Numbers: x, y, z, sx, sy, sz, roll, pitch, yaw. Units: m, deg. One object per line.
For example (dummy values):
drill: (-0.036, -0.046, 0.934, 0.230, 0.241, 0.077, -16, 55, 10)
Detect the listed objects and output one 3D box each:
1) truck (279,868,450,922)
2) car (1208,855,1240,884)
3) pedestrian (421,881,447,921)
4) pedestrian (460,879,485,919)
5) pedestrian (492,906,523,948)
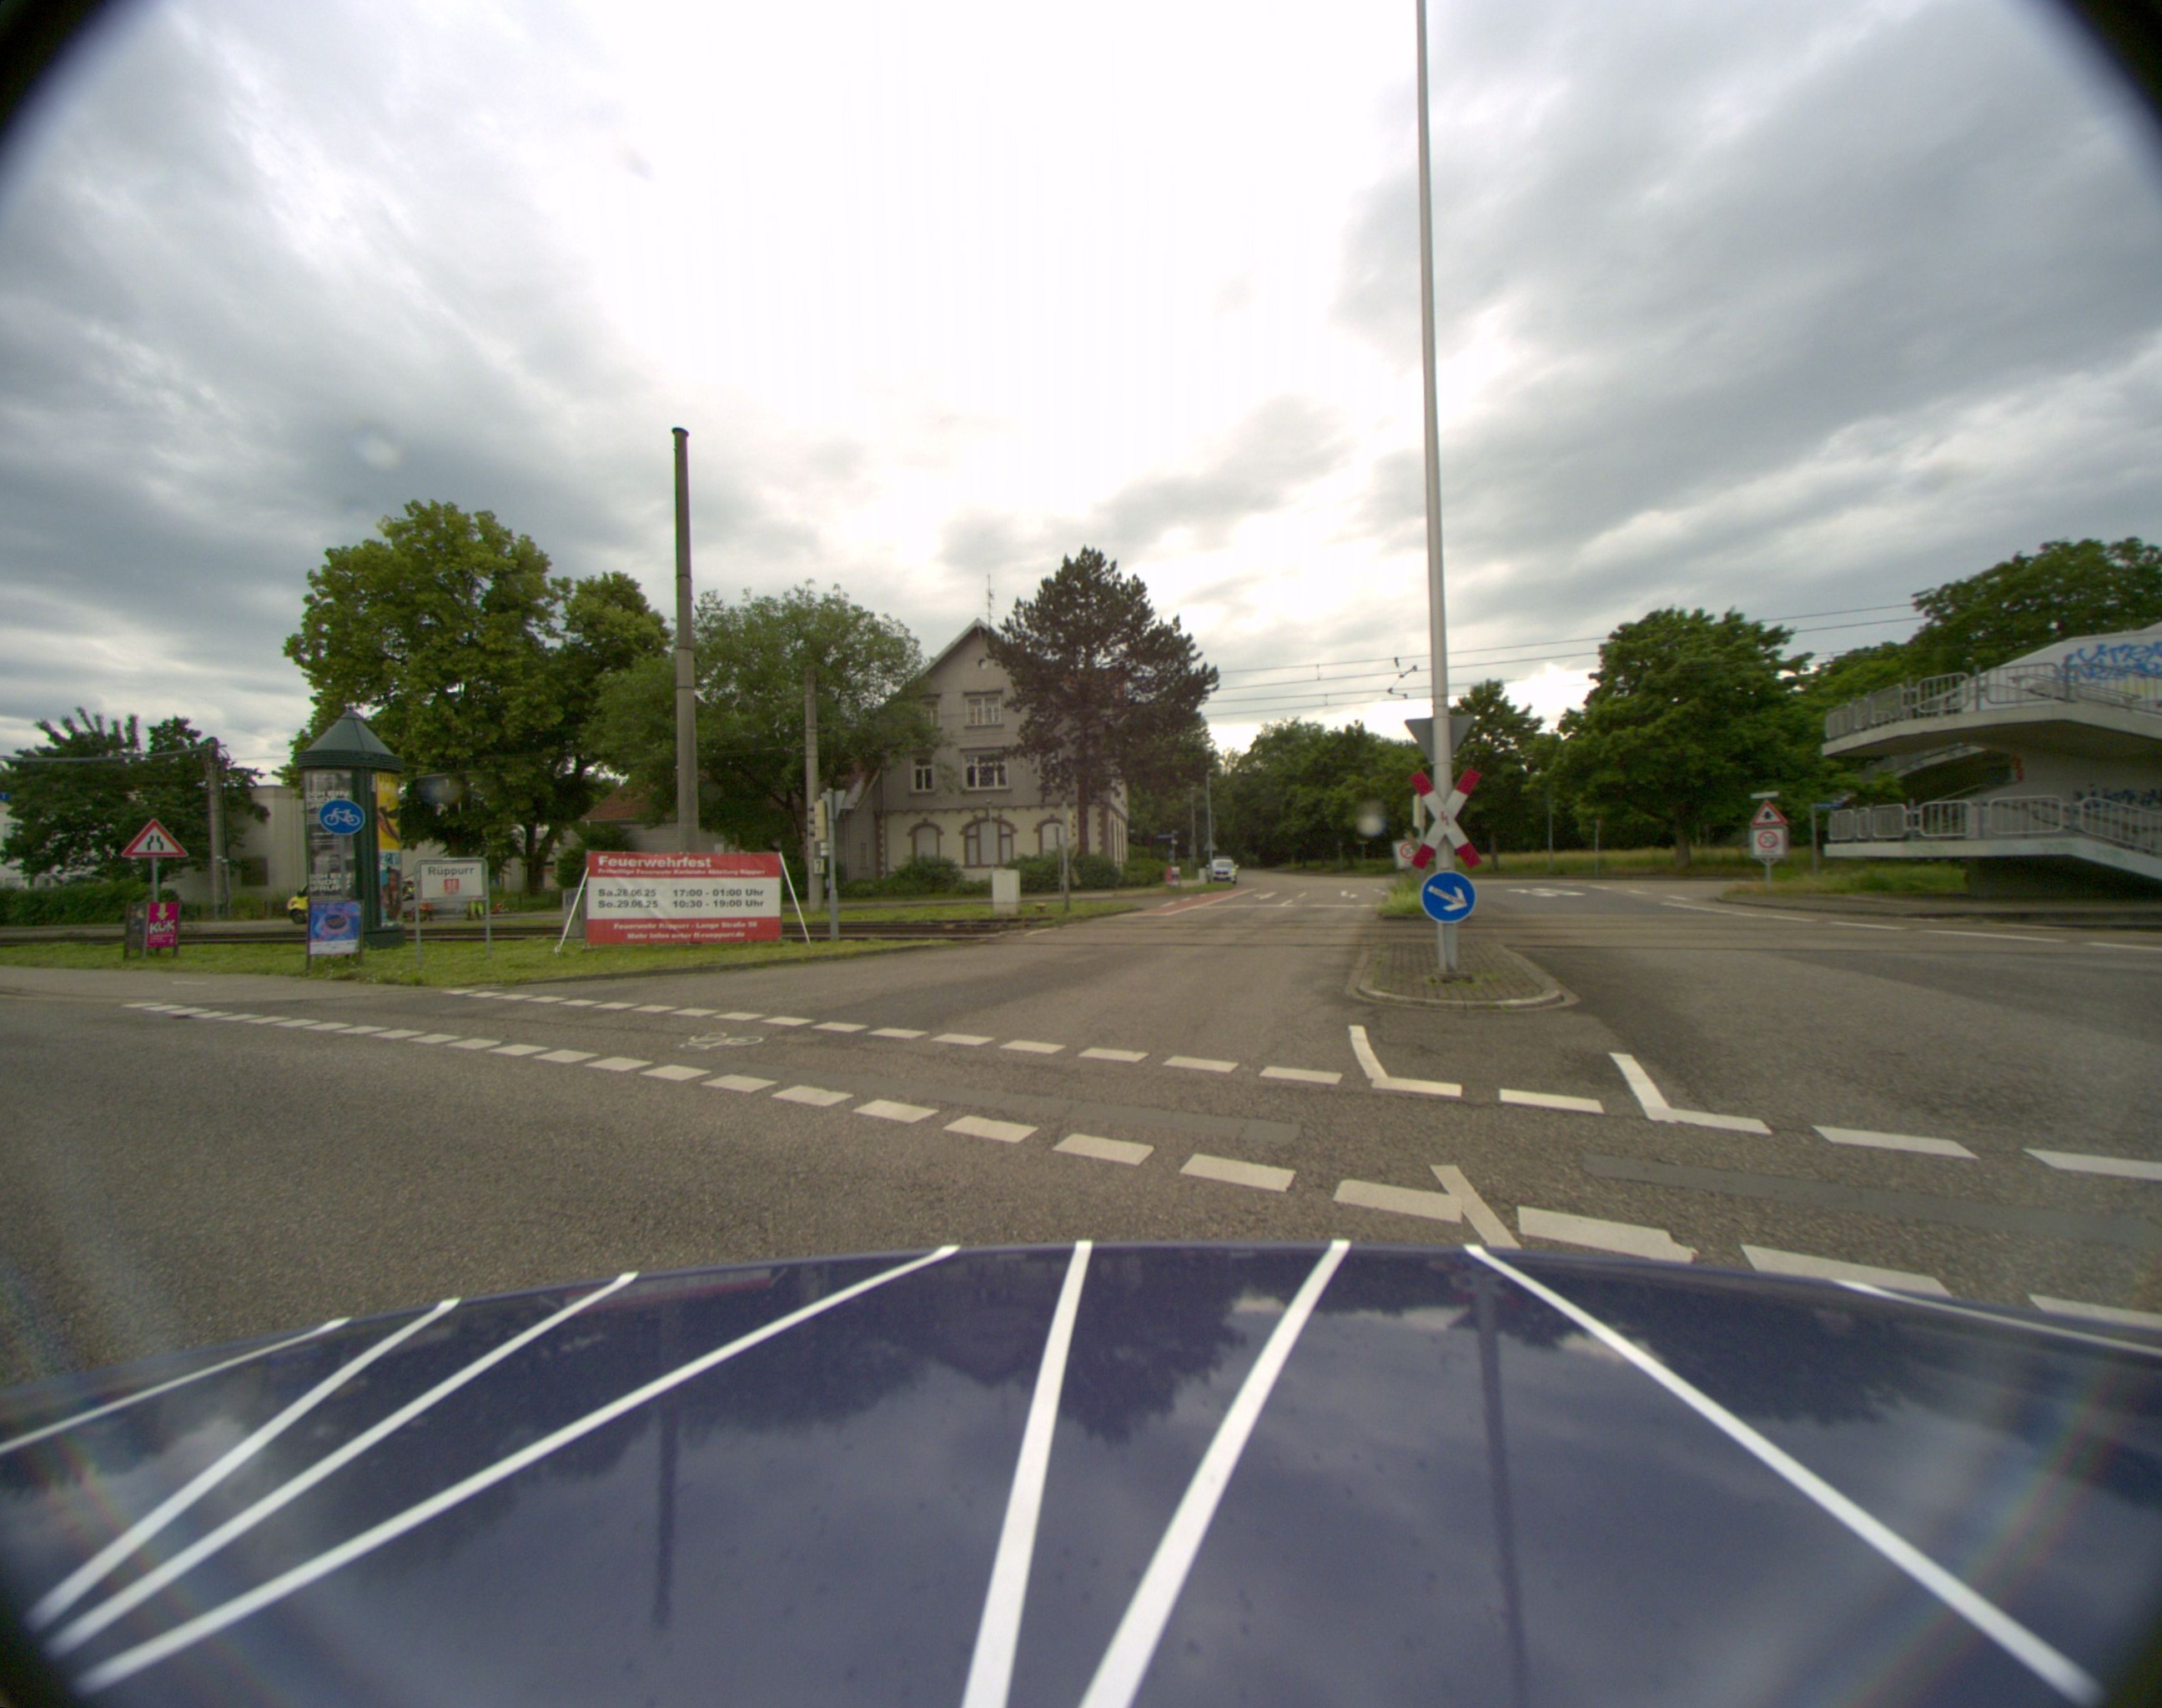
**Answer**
truck: (-34.087, 1.933, 36.222, 6.401, 2.280, 2.607, -2, 0, 11)
car: (9.310, 0.972, 49.769, 1.934, 1.839, 4.003, 0, 0, 9)
pedestrian: (-29.150, 2.097, 34.247, 0.575, 1.752, 0.636, -2, 0, 1)
pedestrian: (-27.635, 2.044, 34.525, 0.575, 1.752, 0.636, -2, 0, 1)
pedestrian: (-26.299, 3.340, 34.859, 0.678, 1.843, 0.875, -2, -1, 23)
